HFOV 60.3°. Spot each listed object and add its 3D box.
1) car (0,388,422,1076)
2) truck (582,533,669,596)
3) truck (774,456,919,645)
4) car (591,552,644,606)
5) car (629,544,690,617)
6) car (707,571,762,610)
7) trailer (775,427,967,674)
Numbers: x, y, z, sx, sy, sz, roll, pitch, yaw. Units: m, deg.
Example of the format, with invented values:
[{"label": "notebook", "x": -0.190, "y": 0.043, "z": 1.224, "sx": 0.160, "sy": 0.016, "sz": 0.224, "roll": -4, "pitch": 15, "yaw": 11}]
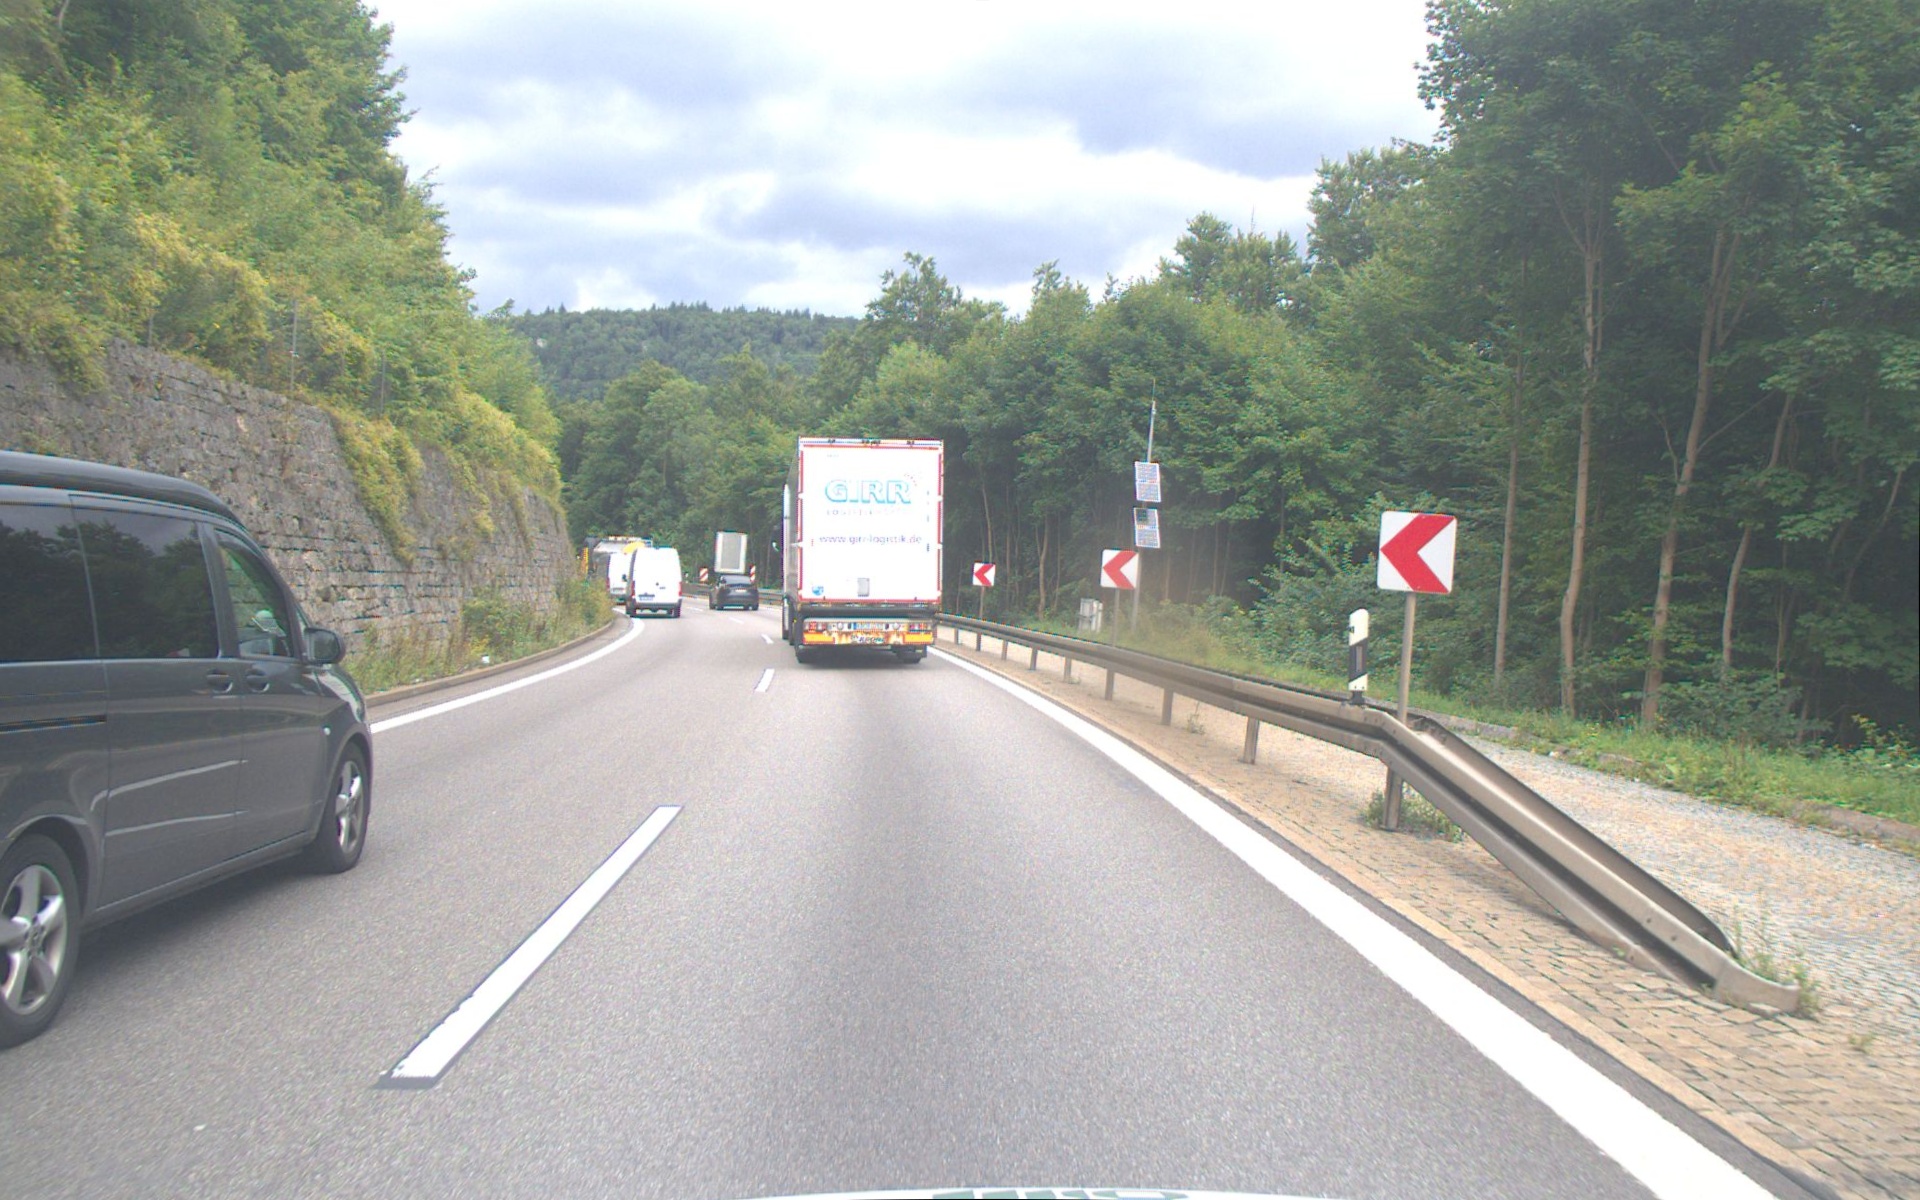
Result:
[{"label": "car", "x": -3.906, "y": 0.365, "z": 6.550, "sx": 1.954, "sy": 2.049, "sz": 5.537, "roll": 0, "pitch": 1, "yaw": -3}, {"label": "truck", "x": -23.192, "y": -2.476, "z": 113.931, "sx": 3.017, "sy": 4.055, "sz": 13.597, "roll": -1, "pitch": 2, "yaw": -24}, {"label": "truck", "x": -2.941, "y": -1.239, "z": 40.636, "sx": 2.999, "sy": 4.054, "sz": 7.178, "roll": 3, "pitch": 2, "yaw": -7}, {"label": "car", "x": -18.468, "y": -1.164, "z": 89.091, "sx": 1.911, "sy": 2.718, "sz": 5.957, "roll": 3, "pitch": 1, "yaw": -20}, {"label": "car", "x": -12.175, "y": -0.818, "z": 66.620, "sx": 1.955, "sy": 2.718, "sz": 6.913, "roll": 3, "pitch": 1, "yaw": -13}, {"label": "car", "x": -10.529, "y": -0.458, "z": 77.032, "sx": 1.961, "sy": 1.691, "sz": 3.984, "roll": 3, "pitch": 0, "yaw": -16}, {"label": "trailer", "x": -2.183, "y": -1.059, "z": 34.273, "sx": 2.999, "sy": 4.054, "sz": 12.121, "roll": 3, "pitch": 2, "yaw": -7}]
